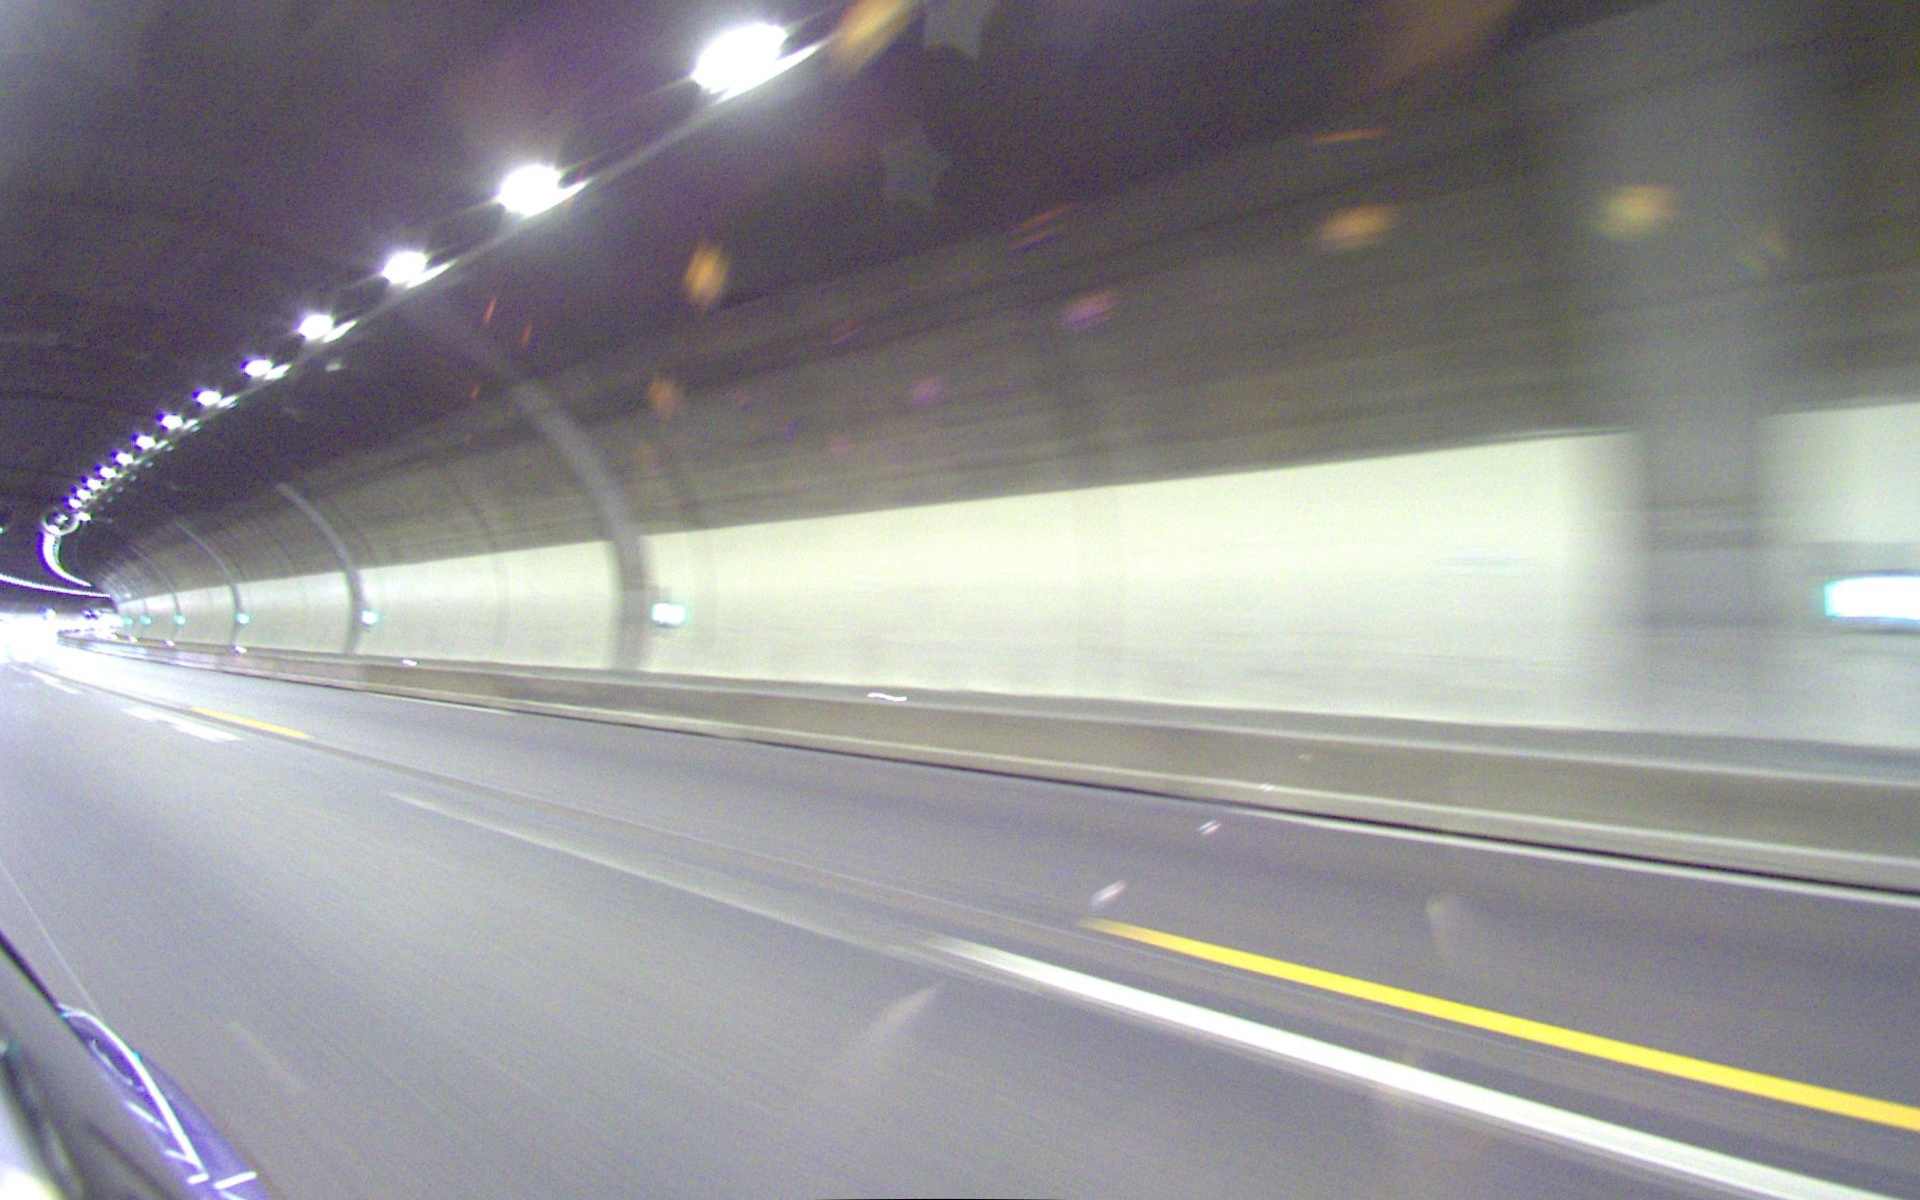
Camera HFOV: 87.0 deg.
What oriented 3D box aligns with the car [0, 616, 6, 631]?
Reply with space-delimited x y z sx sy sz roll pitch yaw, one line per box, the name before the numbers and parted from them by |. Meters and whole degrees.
car | -127.502 3.074 133.543 1.968 1.943 4.394 -1 -1 -37
